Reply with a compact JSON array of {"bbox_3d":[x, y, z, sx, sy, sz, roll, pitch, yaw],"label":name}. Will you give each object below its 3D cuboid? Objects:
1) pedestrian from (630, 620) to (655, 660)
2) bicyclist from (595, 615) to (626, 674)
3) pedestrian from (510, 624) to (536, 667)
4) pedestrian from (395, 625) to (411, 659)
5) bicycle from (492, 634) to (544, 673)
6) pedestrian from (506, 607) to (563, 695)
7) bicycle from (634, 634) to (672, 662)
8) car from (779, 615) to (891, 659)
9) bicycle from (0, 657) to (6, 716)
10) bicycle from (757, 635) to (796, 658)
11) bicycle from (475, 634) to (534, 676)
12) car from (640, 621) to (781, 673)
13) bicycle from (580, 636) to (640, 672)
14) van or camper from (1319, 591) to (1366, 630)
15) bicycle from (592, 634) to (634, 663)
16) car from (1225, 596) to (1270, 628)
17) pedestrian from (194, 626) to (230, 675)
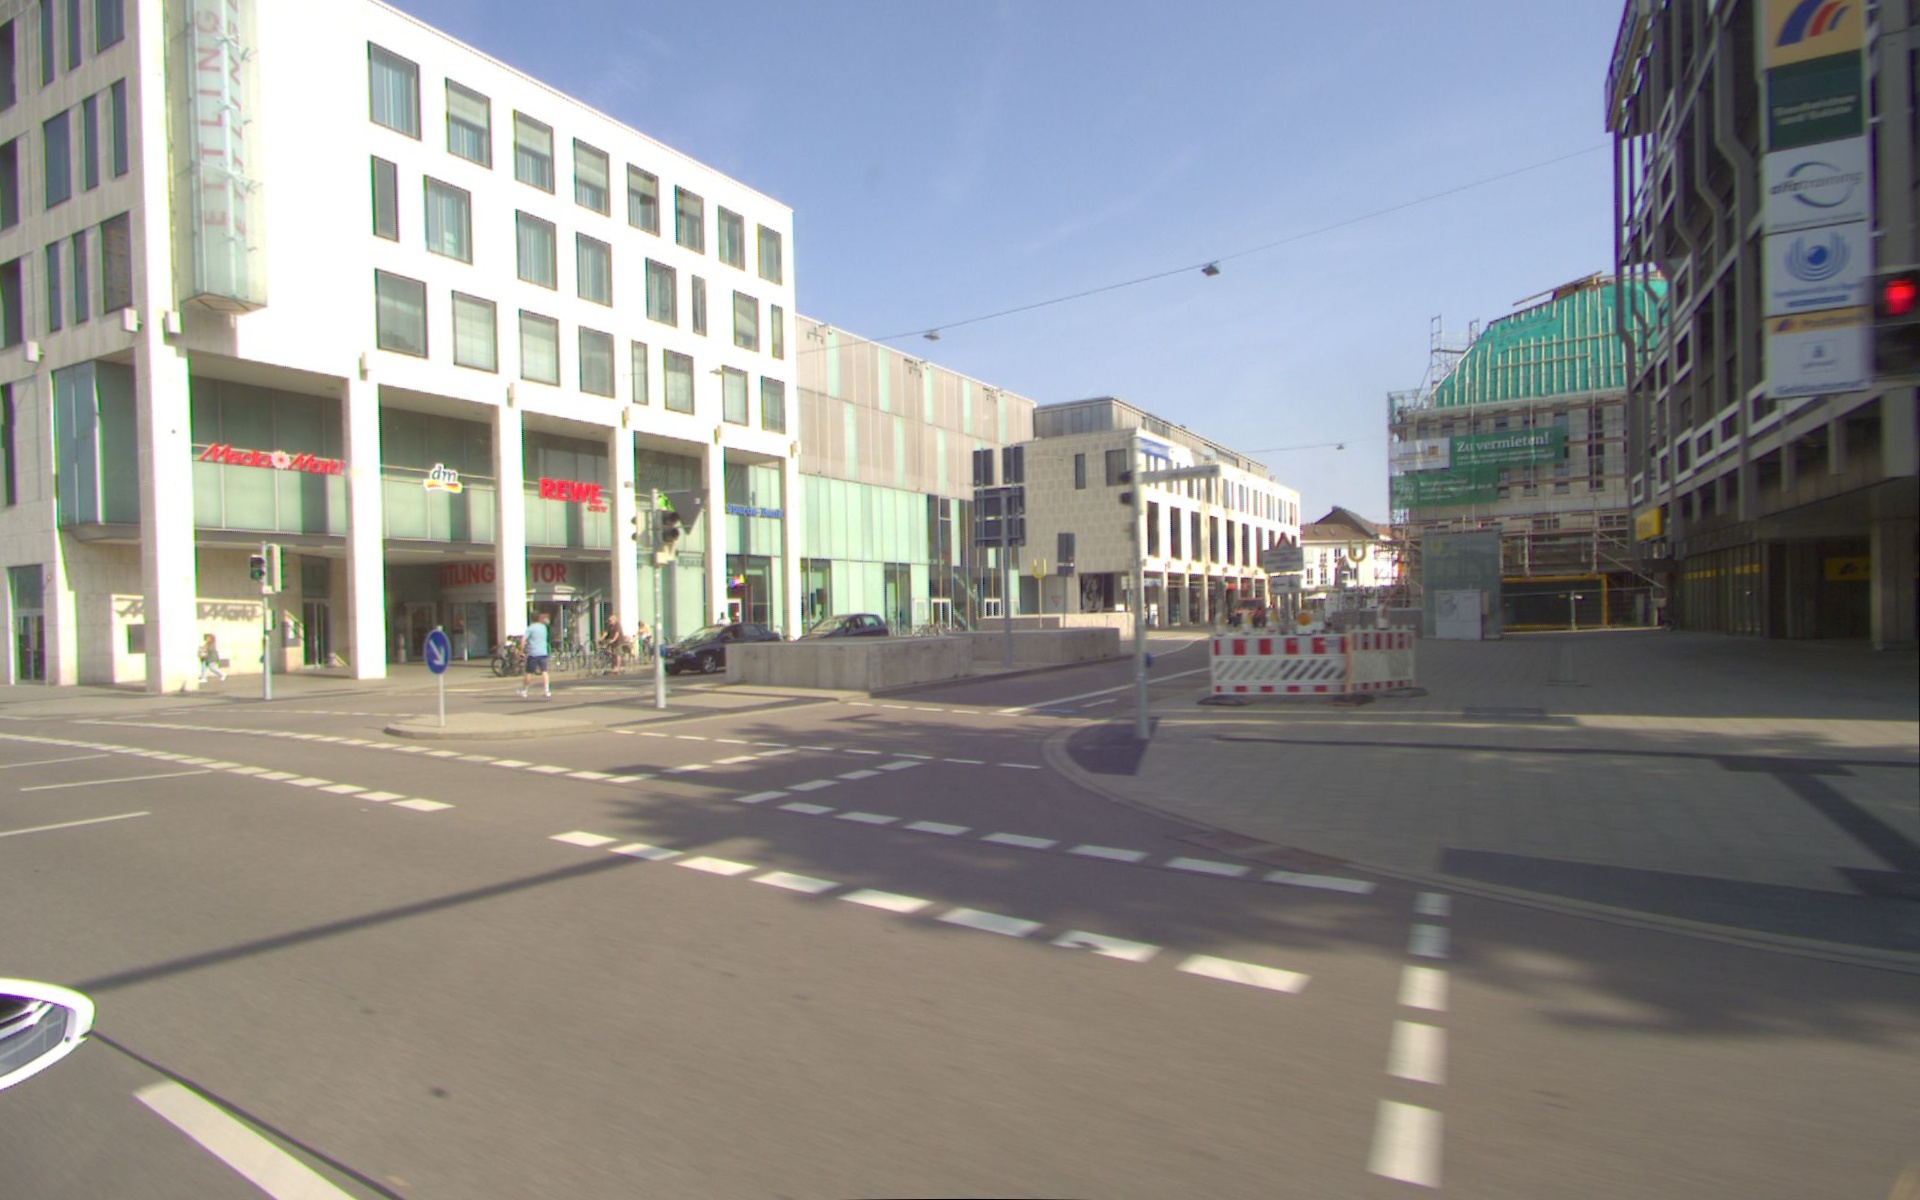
[{"bbox_3d":[-11.952,1.498,37.682,0.724,1.505,0.602,-1,0,-2],"label":"pedestrian"},{"bbox_3d":[-10.703,1.360,30.679,0.573,1.761,0.634,-1,0,28],"label":"bicyclist"},{"bbox_3d":[-14.295,1.486,32.766,0.538,1.374,0.511,-1,0,21],"label":"pedestrian"},{"bbox_3d":[-22.199,1.679,39.913,0.448,1.359,0.391,-1,0,28],"label":"pedestrian"},{"bbox_3d":[-14.191,1.726,32.156,1.765,1.215,0.500,-1,0,27],"label":"bicycle"},{"bbox_3d":[-8.653,1.024,20.343,0.977,1.734,0.640,-1,0,36],"label":"pedestrian"},{"bbox_3d":[-11.268,1.757,36.735,1.649,0.969,0.457,-1,0,37],"label":"bicycle"},{"bbox_3d":[-4.320,1.257,35.195,1.852,1.421,3.893,-1,-1,32],"label":"car"},{"bbox_3d":[-19.444,1.676,19.547,2.020,1.132,0.660,-1,0,31],"label":"bicycle"},{"bbox_3d":[-7.709,1.954,42.049,1.689,0.969,0.458,-1,0,27],"label":"bicycle"},{"bbox_3d":[-14.342,1.726,31.499,2.039,1.253,0.612,-1,0,30],"label":"bicycle"},{"bbox_3d":[-7.364,1.369,29.923,1.851,1.384,3.885,-2,-1,32],"label":"car"},{"bbox_3d":[-10.712,1.644,30.670,0.602,1.030,1.800,-1,0,28],"label":"bicycle"},{"bbox_3d":[24.794,0.672,64.798,1.971,2.441,5.119,-1,0,31],"label":"van or camper"},{"bbox_3d":[-12.225,1.704,35.295,1.832,0.969,0.457,-1,0,37],"label":"bicycle"},{"bbox_3d":[23.487,0.999,81.633,2.390,2.440,4.987,-2,-2,30],"label":"car"},{"bbox_3d":[-23.213,1.553,31.066,0.596,1.507,0.706,-1,0,31],"label":"pedestrian"}]
